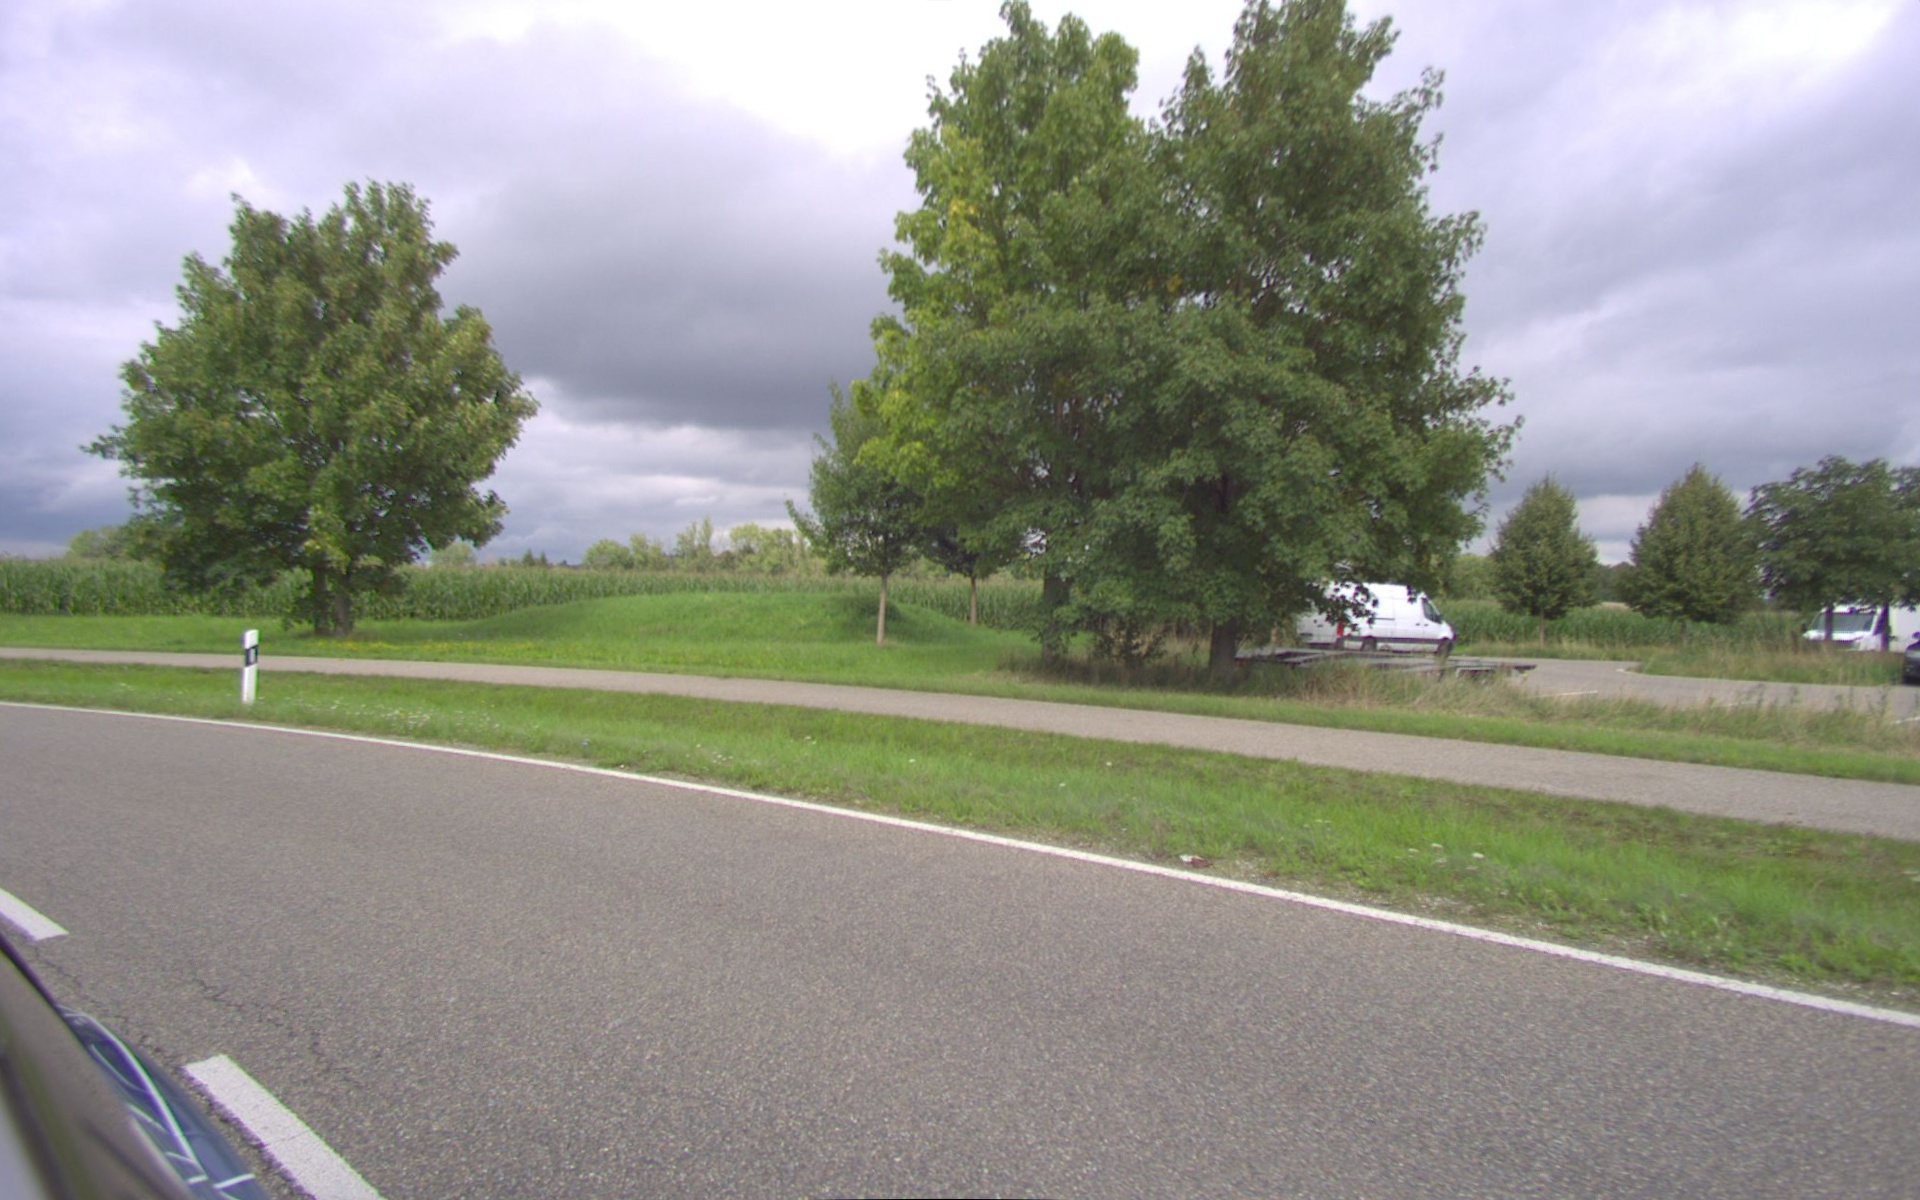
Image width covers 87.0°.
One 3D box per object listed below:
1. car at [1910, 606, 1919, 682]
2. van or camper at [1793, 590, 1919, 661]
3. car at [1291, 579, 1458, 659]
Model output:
[{"bbox_3d":[21.597,0.921,21.060,3.933,1.536,1.799,1,-1,-33],"label":"car"},{"bbox_3d":[32.580,0.830,36.186,5.945,2.364,2.293,0,0,-29],"label":"van or camper"},{"bbox_3d":[14.745,0.700,35.845,6.227,2.639,2.207,1,-1,-31],"label":"car"}]
